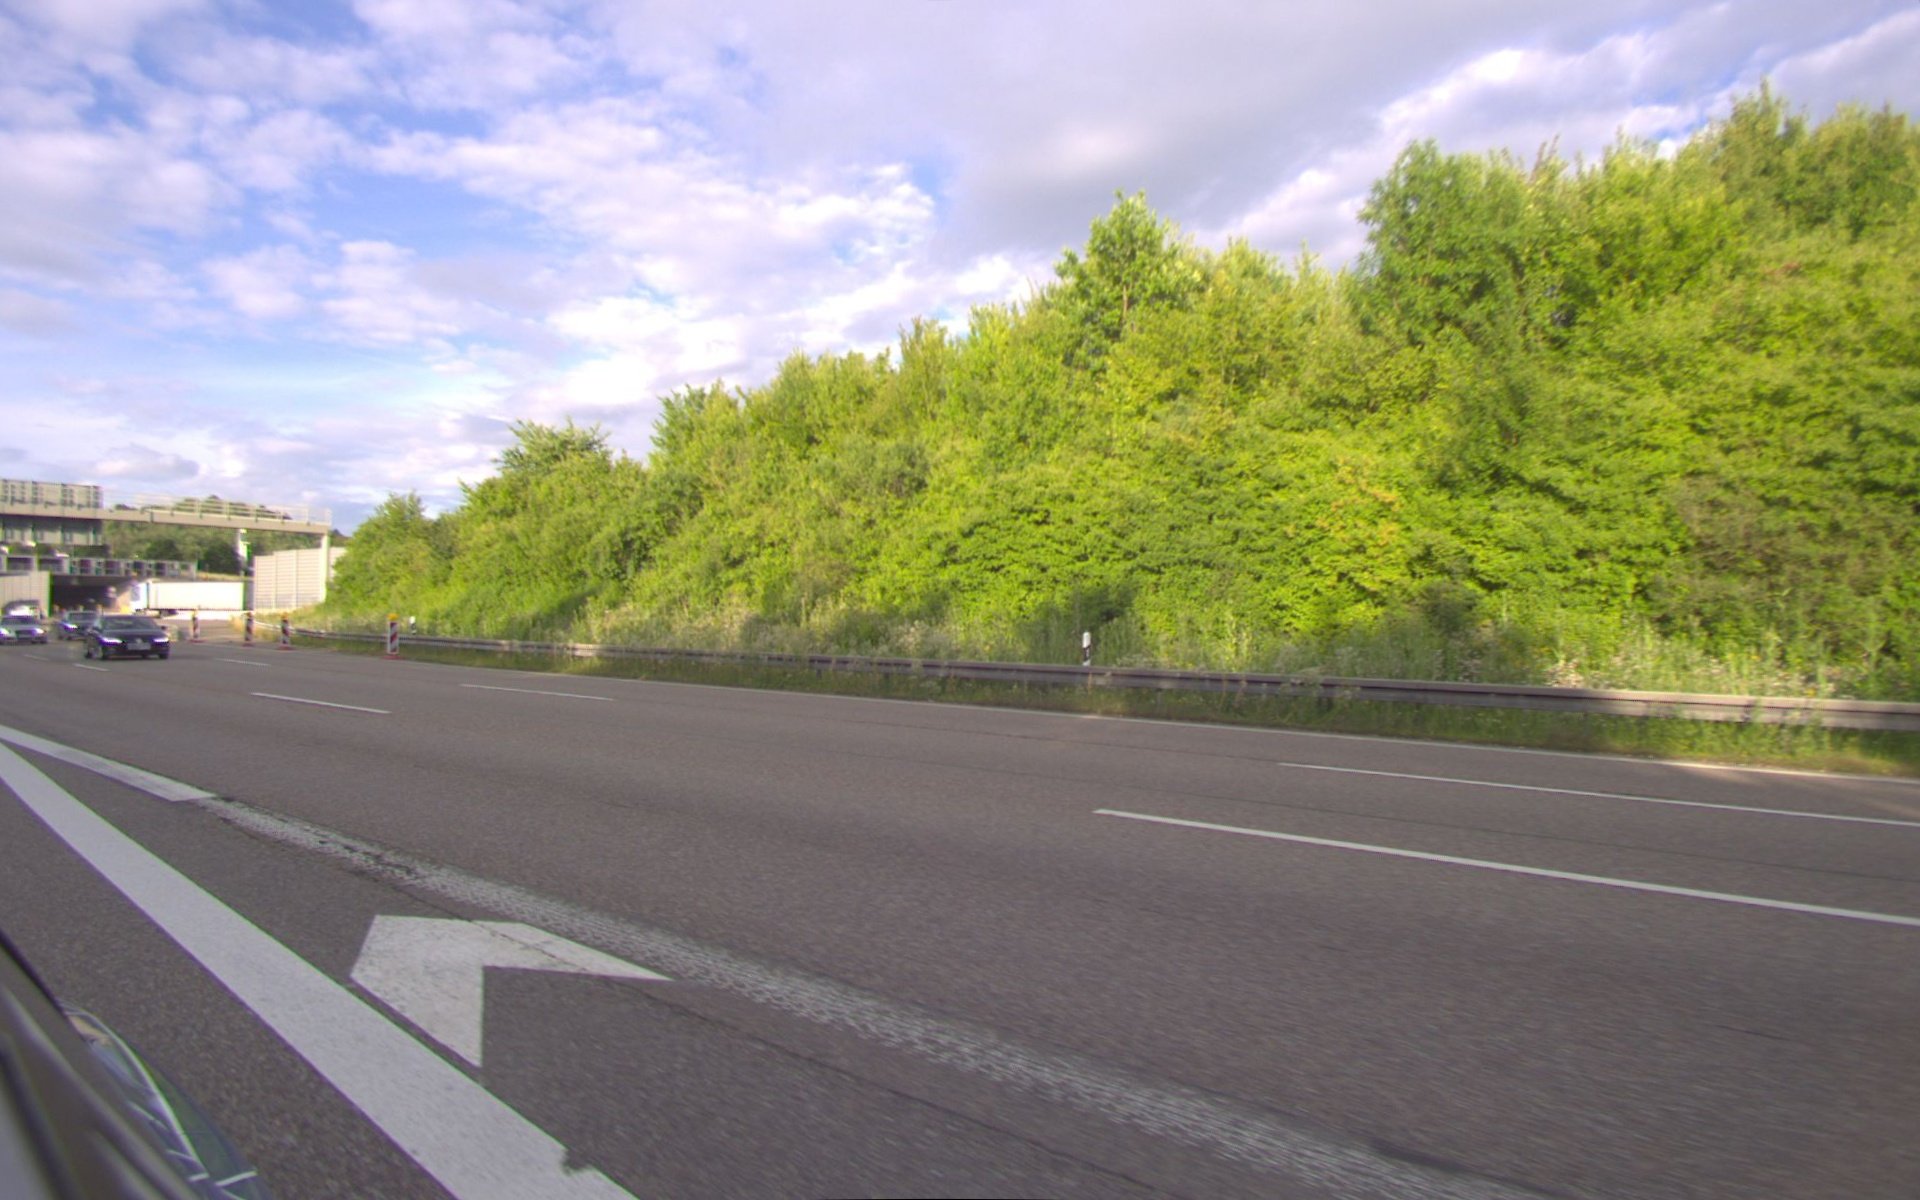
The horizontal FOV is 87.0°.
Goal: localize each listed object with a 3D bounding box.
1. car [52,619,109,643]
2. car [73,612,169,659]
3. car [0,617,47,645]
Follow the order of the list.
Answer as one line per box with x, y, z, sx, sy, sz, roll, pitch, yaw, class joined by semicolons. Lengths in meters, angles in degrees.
-48.344;1.678;55.610;3.998;1.301;1.856;-1;-1;41;car
-27.030;1.125;32.568;3.998;1.417;1.739;-1;-2;41;car
-45.682;1.467;48.976;3.998;1.301;1.774;-1;-2;41;car
